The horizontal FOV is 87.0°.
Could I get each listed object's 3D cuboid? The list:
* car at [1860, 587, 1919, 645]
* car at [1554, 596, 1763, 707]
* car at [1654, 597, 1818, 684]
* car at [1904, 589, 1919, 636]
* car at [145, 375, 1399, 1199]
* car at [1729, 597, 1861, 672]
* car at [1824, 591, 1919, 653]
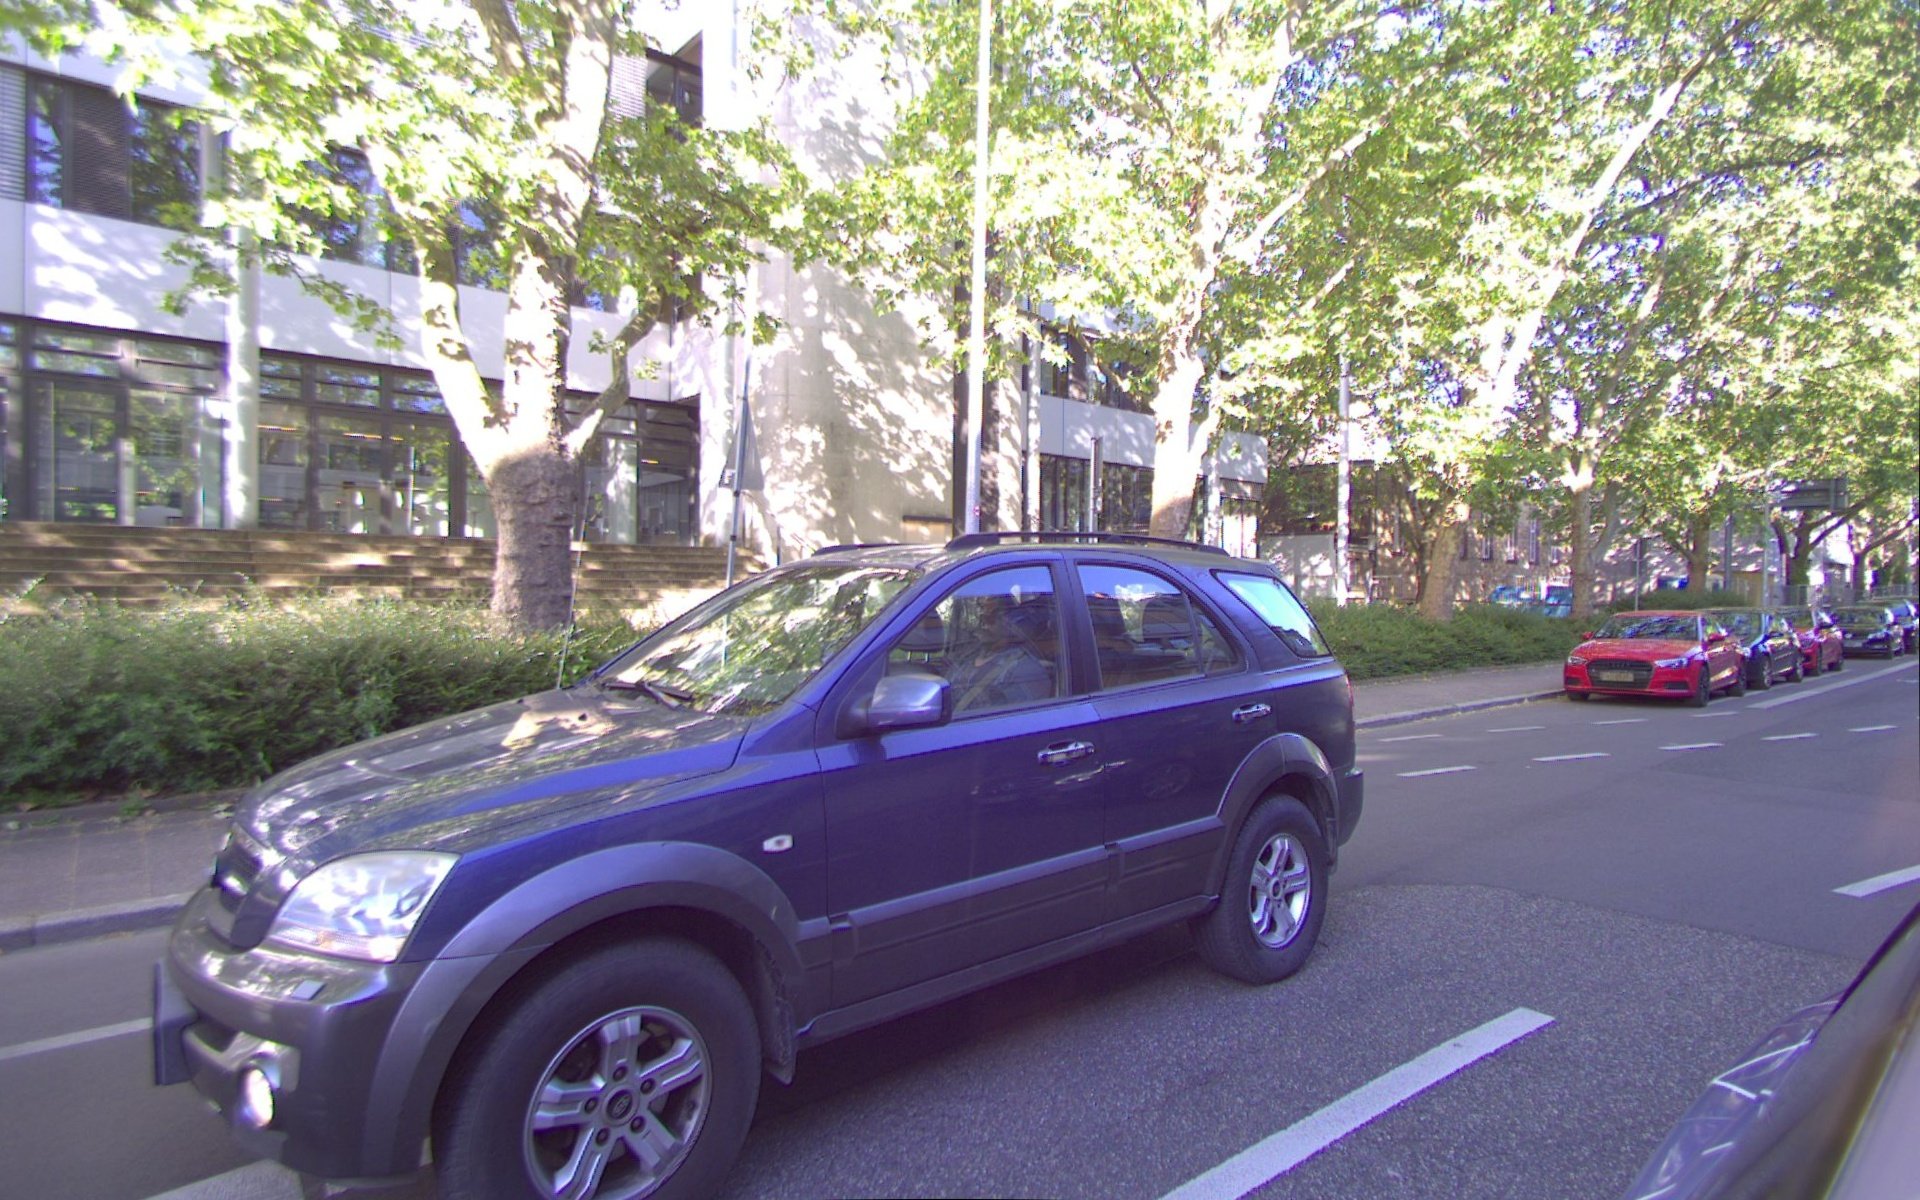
[{"bbox_3d":[29.729,0.472,31.882,3.840,1.708,1.633,0,1,-42],"label":"car"},{"bbox_3d":[11.235,0.733,16.184,4.071,1.548,1.827,0,-1,-42],"label":"car"},{"bbox_3d":[14.850,0.707,19.298,4.022,1.472,1.739,0,-1,-42],"label":"car"},{"bbox_3d":[38.623,0.493,39.899,3.829,1.818,1.739,0,1,-42],"label":"car"},{"bbox_3d":[-0.258,0.524,3.787,4.308,1.793,1.783,0,-1,-41],"label":"car"},{"bbox_3d":[18.671,0.714,22.574,3.851,1.511,1.679,0,-1,-42],"label":"car"},{"bbox_3d":[26.069,0.571,28.801,4.022,1.653,1.739,0,1,-42],"label":"car"}]
